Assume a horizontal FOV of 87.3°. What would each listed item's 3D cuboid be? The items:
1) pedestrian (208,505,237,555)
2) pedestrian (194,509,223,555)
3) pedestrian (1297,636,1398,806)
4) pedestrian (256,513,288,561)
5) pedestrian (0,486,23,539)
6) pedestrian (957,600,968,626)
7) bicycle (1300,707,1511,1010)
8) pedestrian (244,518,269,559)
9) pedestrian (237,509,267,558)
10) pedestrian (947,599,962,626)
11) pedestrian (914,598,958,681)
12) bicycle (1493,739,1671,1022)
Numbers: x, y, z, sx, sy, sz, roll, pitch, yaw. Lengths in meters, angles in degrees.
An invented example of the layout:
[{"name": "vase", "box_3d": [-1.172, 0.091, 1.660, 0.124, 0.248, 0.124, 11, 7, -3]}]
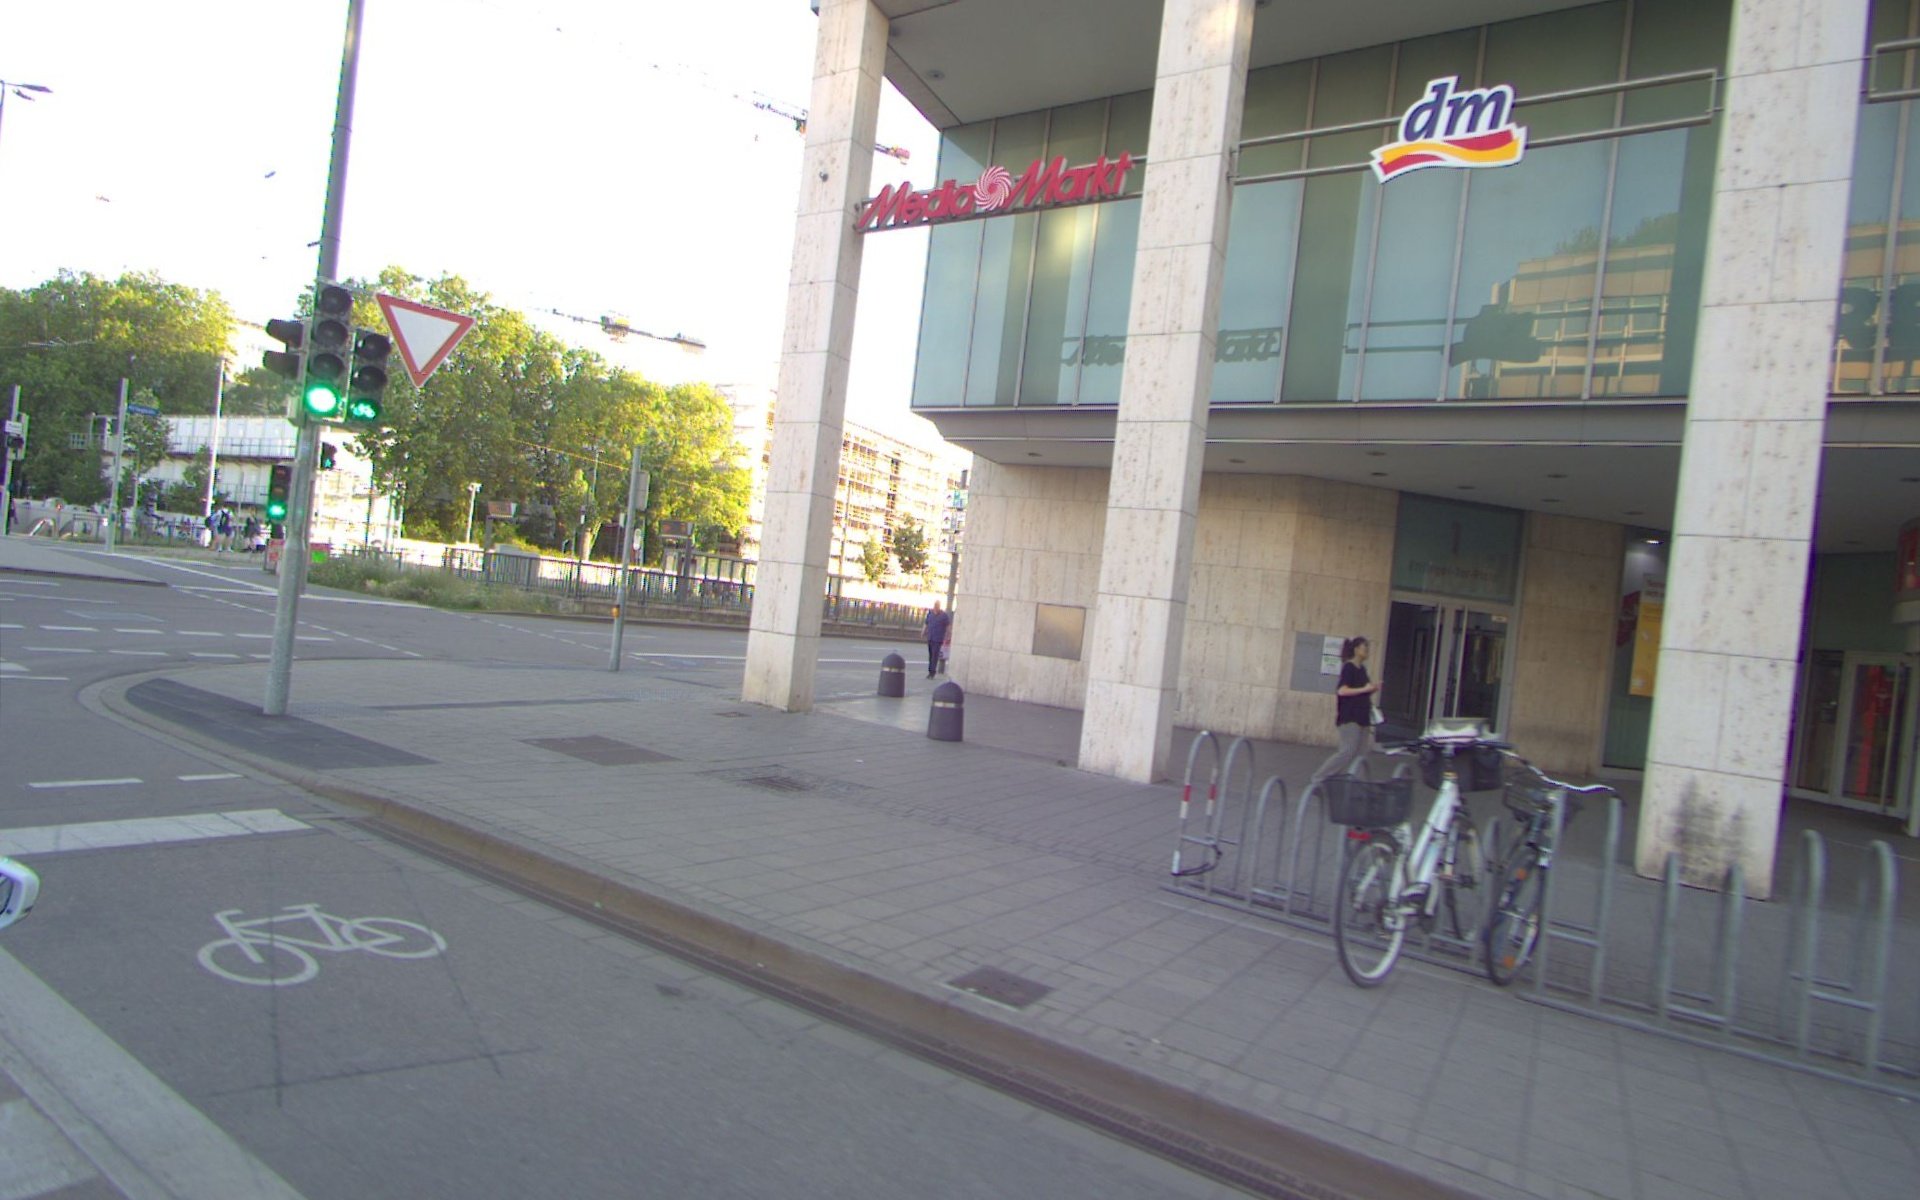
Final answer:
[{"name": "pedestrian", "box_3d": [-27.056, -2.565, 36.925, 0.706, 1.746, 0.662, 6, 0, -35]}, {"name": "pedestrian", "box_3d": [-28.005, -2.531, 37.494, 0.527, 1.612, 0.571, 7, 1, 32]}, {"name": "pedestrian", "box_3d": [4.140, 1.263, 10.730, 0.696, 1.658, 0.791, 7, 0, 33]}, {"name": "pedestrian", "box_3d": [-27.174, -2.479, 39.737, 0.657, 1.746, 0.712, 7, 0, 30]}, {"name": "pedestrian", "box_3d": [-34.303, -3.165, 36.126, 0.790, 1.813, 0.803, 7, 1, 44]}, {"name": "pedestrian", "box_3d": [0.158, 0.889, 67.276, 0.396, 1.690, 0.448, 7, 1, 38]}, {"name": "bicycle", "box_3d": [2.259, 1.171, 5.002, 0.540, 1.198, 1.479, 7, 0, 36]}, {"name": "pedestrian", "box_3d": [-26.834, -2.356, 38.372, 0.672, 1.458, 0.707, 6, 0, -36]}, {"name": "pedestrian", "box_3d": [-26.451, -2.487, 37.600, 0.708, 1.746, 0.661, 6, 0, -41]}, {"name": "pedestrian", "box_3d": [-0.371, 0.846, 67.640, 0.657, 1.690, 0.574, 7, 1, 37]}, {"name": "pedestrian", "box_3d": [-0.531, 0.874, 22.089, 0.579, 1.746, 0.668, 7, 0, 20]}, {"name": "bicycle", "box_3d": [3.284, 1.390, 5.440, 0.474, 1.091, 1.773, 7, 0, 24]}]
